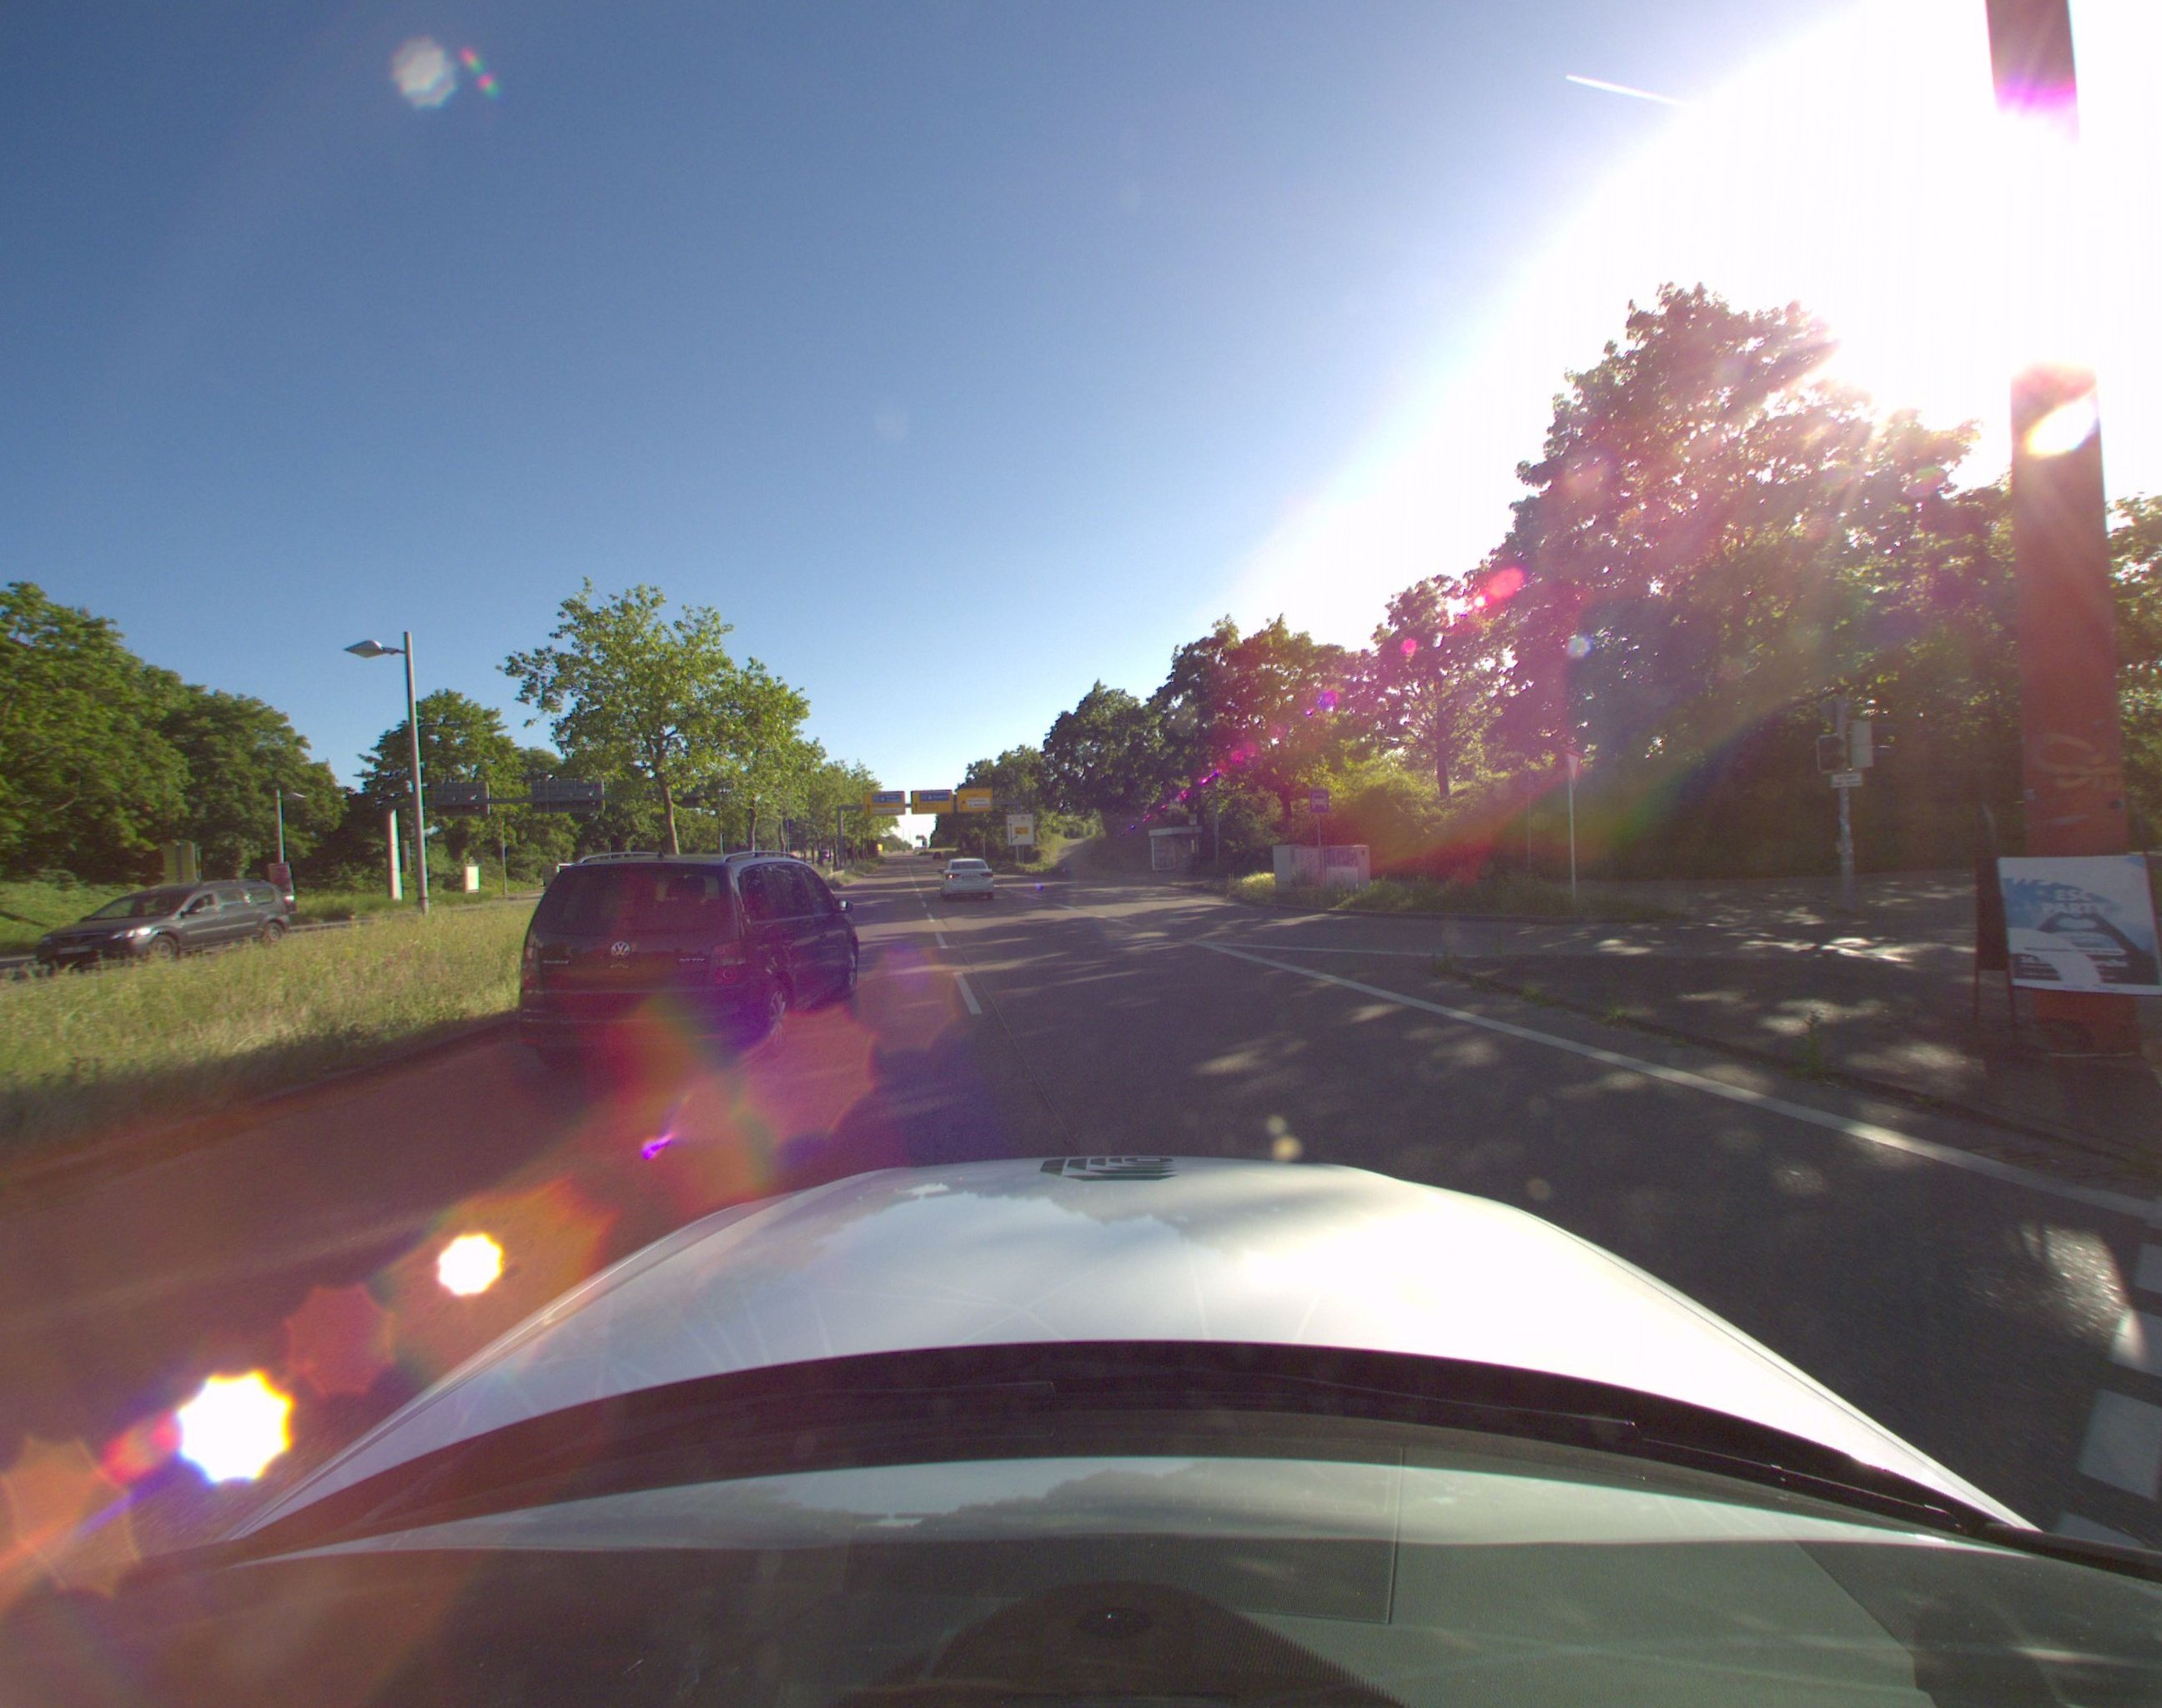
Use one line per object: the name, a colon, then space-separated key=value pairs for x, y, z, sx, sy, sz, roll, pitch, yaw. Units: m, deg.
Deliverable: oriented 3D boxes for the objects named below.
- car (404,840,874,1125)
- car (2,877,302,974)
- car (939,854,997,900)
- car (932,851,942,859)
car: x=-3.293 y=0.751 z=7.415 sx=1.764 sy=1.644 sz=4.917 roll=-2 pitch=1 yaw=-3
car: x=-19.847 y=1.420 z=17.786 sx=1.900 sy=1.565 sz=4.545 roll=-4 pitch=1 yaw=-13
car: x=-4.233 y=0.779 z=30.056 sx=1.769 sy=1.464 sz=4.348 roll=-2 pitch=1 yaw=-12
car: x=-27.582 y=0.257 z=156.352 sx=1.768 sy=1.464 sz=4.350 roll=-2 pitch=1 yaw=-11
